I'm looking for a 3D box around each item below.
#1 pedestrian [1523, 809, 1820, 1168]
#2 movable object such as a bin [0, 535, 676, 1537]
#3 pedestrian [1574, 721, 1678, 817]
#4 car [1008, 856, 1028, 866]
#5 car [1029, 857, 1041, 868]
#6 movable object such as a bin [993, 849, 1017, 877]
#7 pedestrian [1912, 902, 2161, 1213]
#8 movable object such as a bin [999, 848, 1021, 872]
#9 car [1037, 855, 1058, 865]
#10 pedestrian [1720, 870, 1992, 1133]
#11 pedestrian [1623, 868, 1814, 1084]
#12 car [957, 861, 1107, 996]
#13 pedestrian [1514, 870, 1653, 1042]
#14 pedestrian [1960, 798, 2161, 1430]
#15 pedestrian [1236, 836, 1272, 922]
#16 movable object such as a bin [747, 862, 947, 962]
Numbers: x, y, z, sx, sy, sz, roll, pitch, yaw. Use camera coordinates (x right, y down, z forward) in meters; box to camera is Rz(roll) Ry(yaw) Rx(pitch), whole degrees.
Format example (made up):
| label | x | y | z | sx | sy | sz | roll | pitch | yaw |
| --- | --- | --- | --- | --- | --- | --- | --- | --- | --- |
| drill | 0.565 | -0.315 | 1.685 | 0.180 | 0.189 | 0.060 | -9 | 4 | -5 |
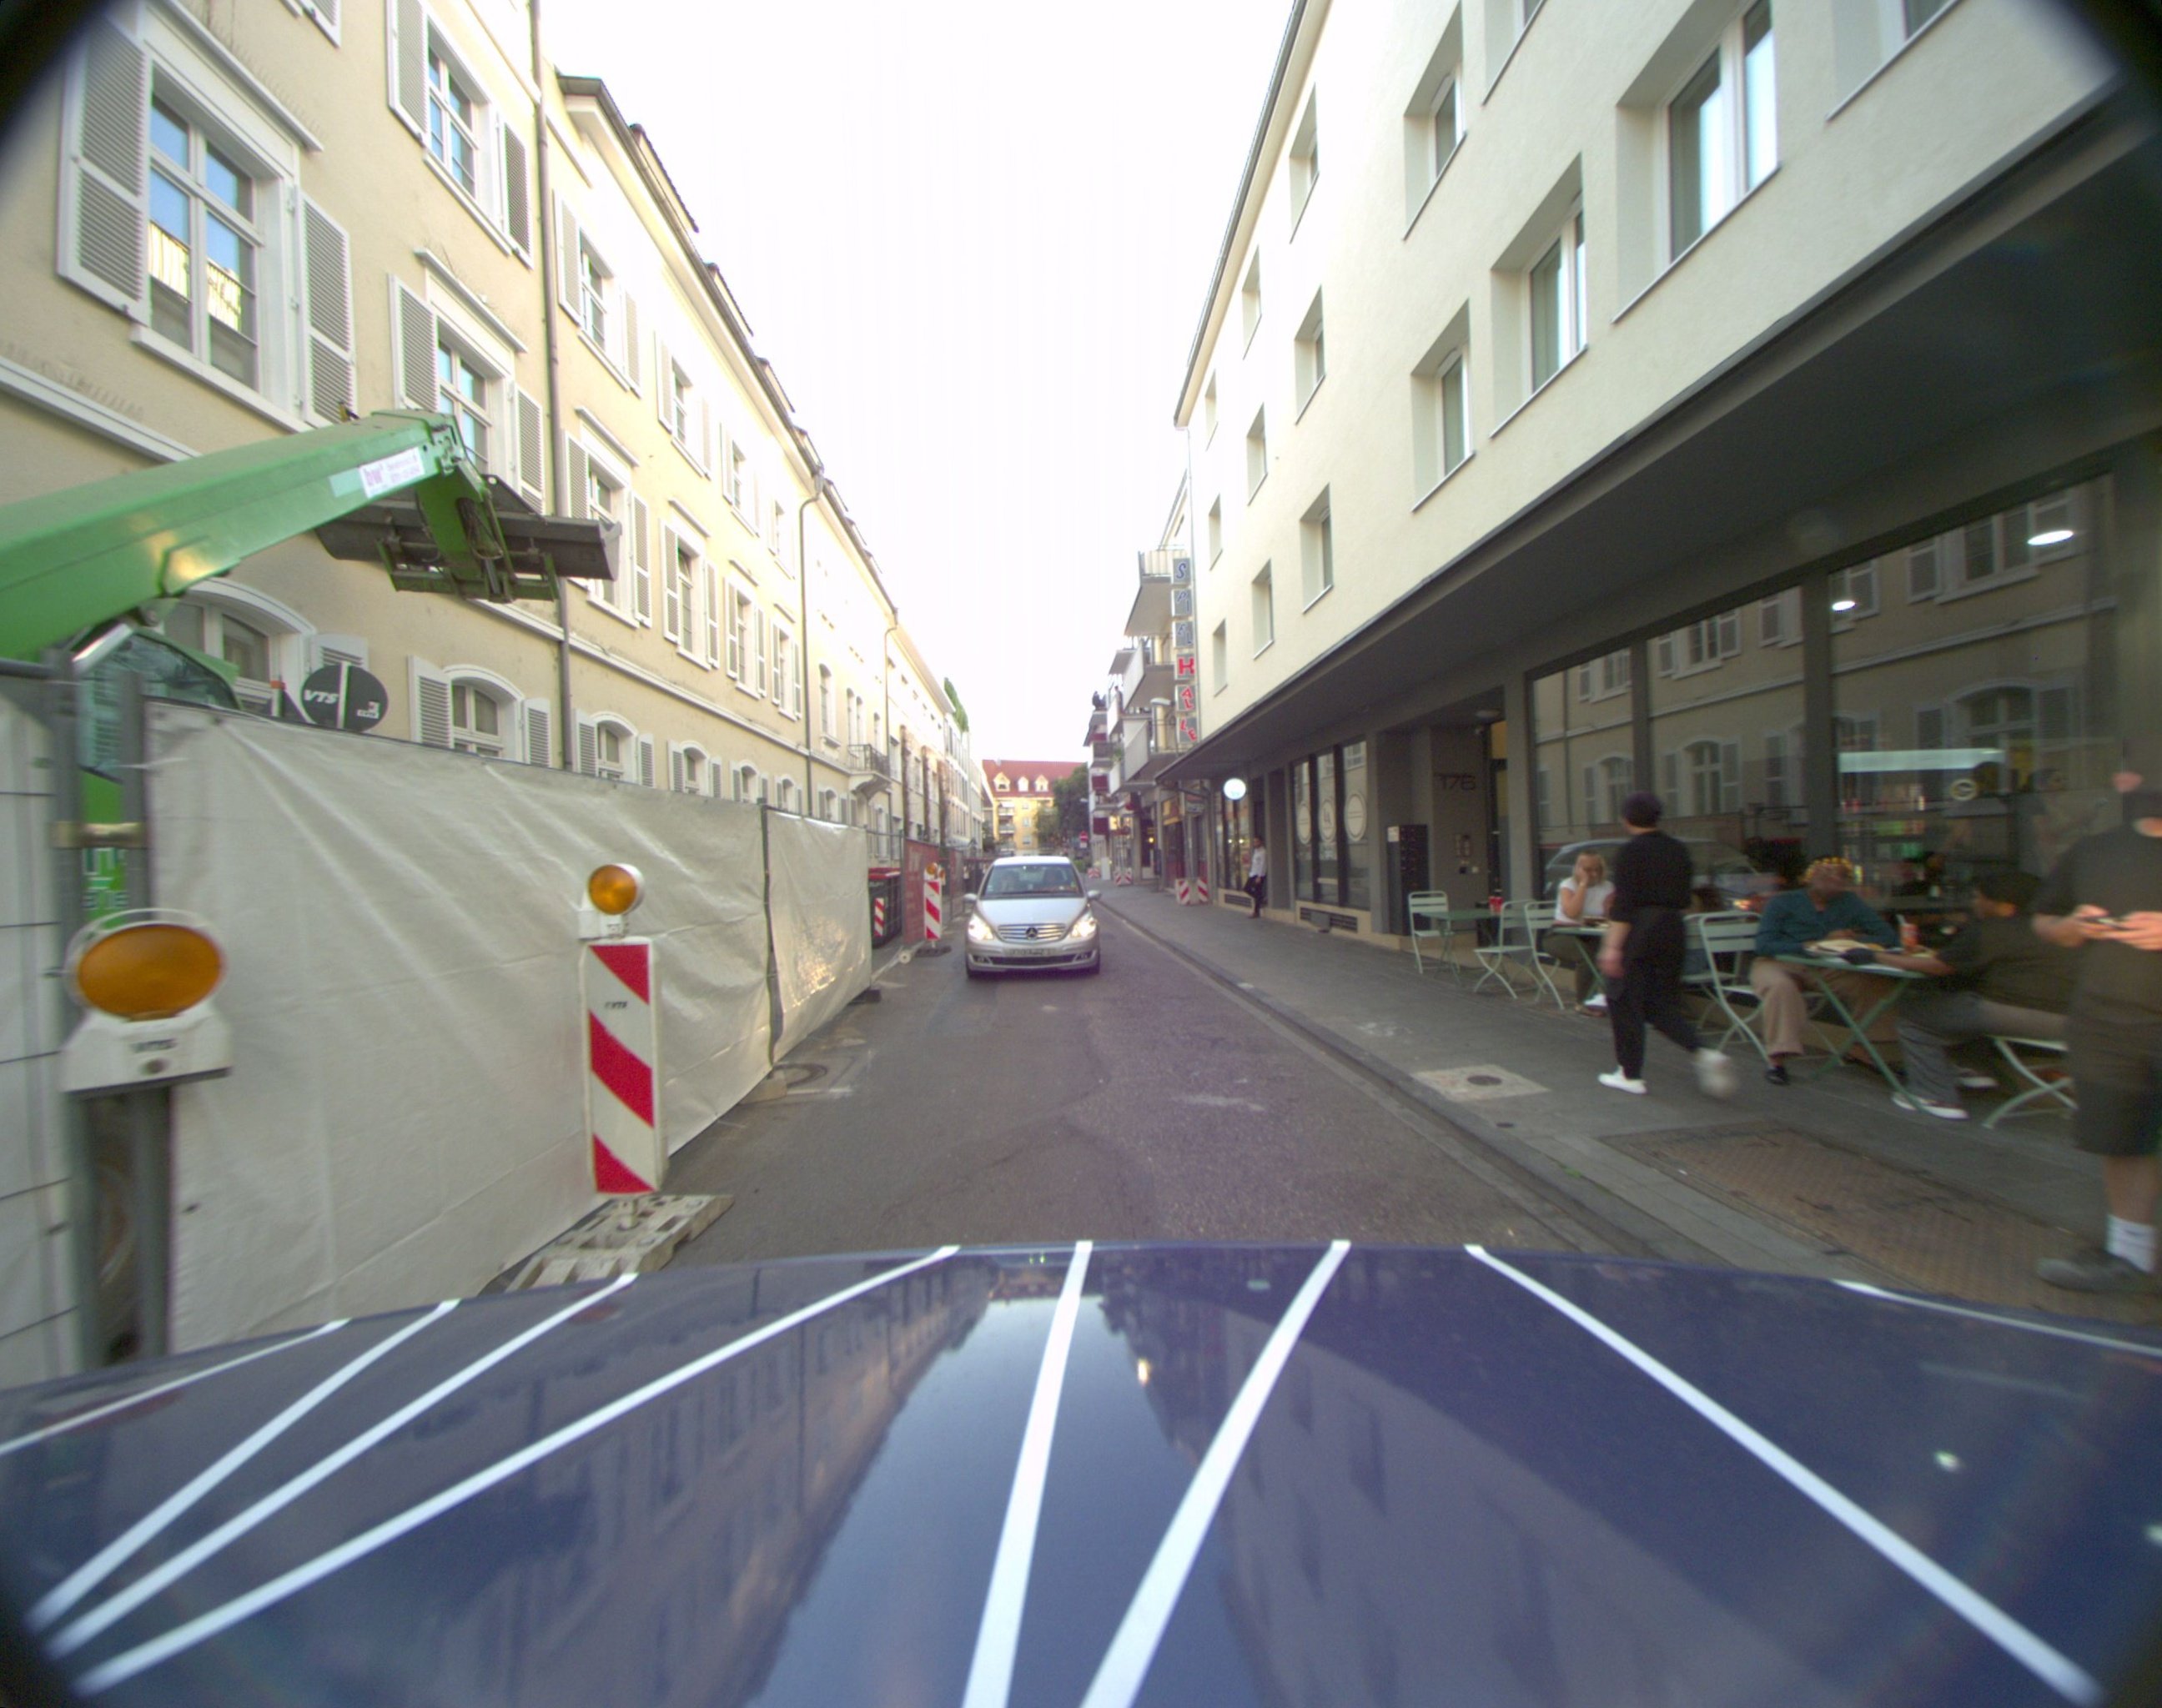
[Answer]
| label | x | y | z | sx | sy | sz | roll | pitch | yaw |
| --- | --- | --- | --- | --- | --- | --- | --- | --- | --- |
| pedestrian | 3.083 | 0.634 | 4.070 | 0.798 | 1.658 | 0.901 | -4 | 1 | -5 |
| movable object such as a bin | -4.437 | 0.528 | 3.737 | 2.612 | 2.822 | 4.448 | -1 | 0 | -3 |
| pedestrian | 14.044 | -2.057 | 19.685 | 1.994 | 2.002 | 4.008 | -1 | 0 | 35 |
| car | -9.906 | 1.107 | 118.751 | 1.749 | 1.395 | 4.237 | -1 | 2 | -25 |
| car | -6.329 | 1.165 | 105.183 | 1.539 | 1.317 | 3.352 | -2 | 0 | -3 |
| movable object such as a bin | -7.683 | 0.884 | 77.271 | 2.021 | 2.607 | 5.750 | -4 | 0 | -3 |
| pedestrian | 4.279 | 0.800 | 3.265 | 0.574 | 1.107 | 0.713 | -4 | 0 | -3 |
| movable object such as a bin | -8.131 | 0.667 | 87.768 | 2.021 | 2.608 | 5.749 | -4 | 0 | -3 |
| car | -5.425 | 0.976 | 121.103 | 1.830 | 1.460 | 4.319 | -1 | 2 | -25 |
| pedestrian | 4.201 | 0.747 | 4.179 | 0.704 | 1.268 | 0.713 | -4 | 0 | -3 |
| pedestrian | 4.141 | 0.750 | 4.984 | 0.574 | 1.268 | 0.713 | -4 | 0 | -3 |
| car | -0.710 | 0.941 | 11.416 | 1.805 | 1.607 | 4.272 | -1 | -1 | -3 |
| pedestrian | 4.057 | 0.789 | 6.179 | 0.574 | 1.268 | 0.713 | -4 | 0 | -3 |
| pedestrian | 3.034 | 0.675 | 2.077 | 0.507 | 1.658 | 0.686 | -4 | 1 | -27 |
| pedestrian | 3.763 | 0.541 | 16.551 | 0.532 | 1.823 | 0.562 | -2 | 0 | -9 |
| movable object such as a bin | -4.930 | 1.099 | 17.696 | 2.744 | 1.629 | 7.549 | -2 | 0 | -4 |
